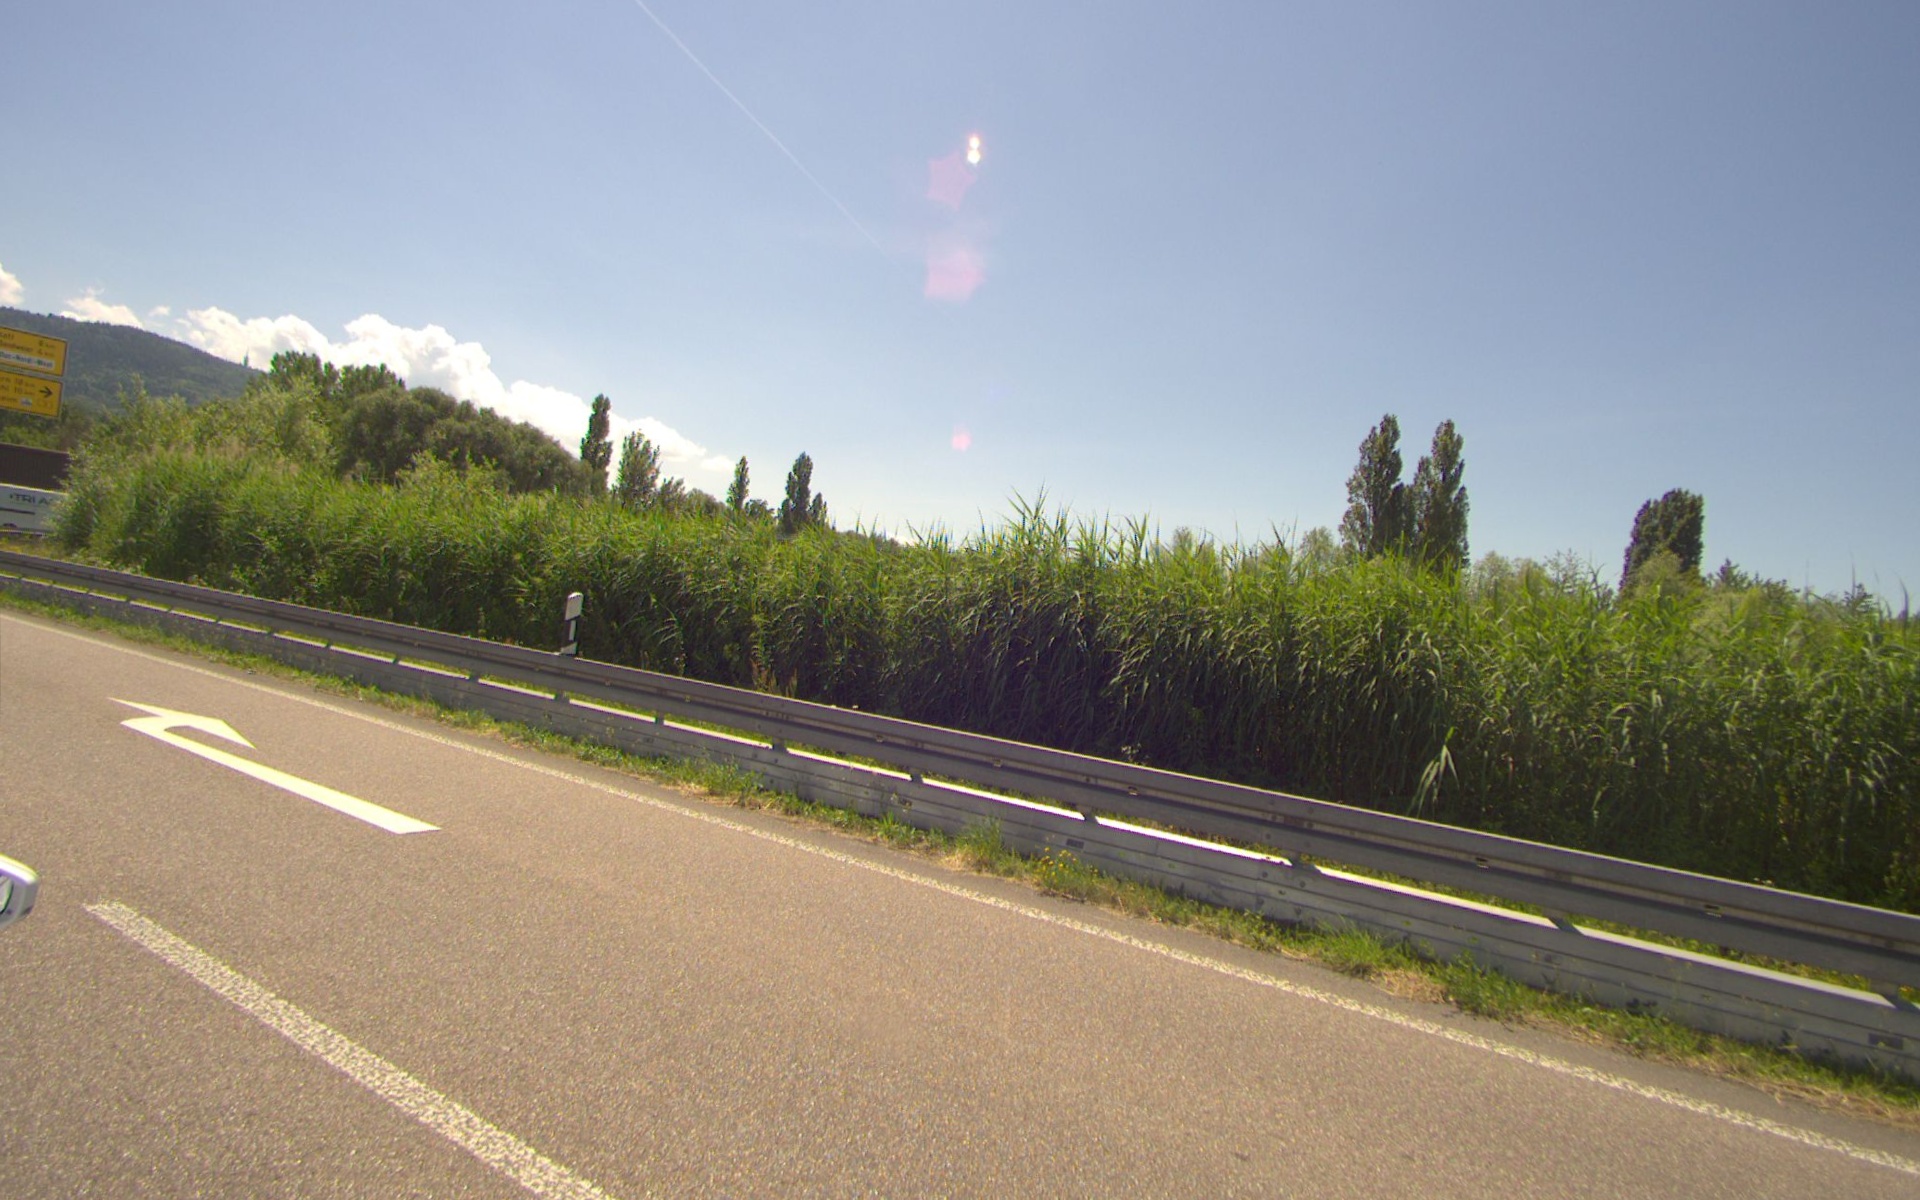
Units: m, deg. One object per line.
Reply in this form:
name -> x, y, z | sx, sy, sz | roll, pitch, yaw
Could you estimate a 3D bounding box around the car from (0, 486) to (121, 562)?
car -> -30.403, -2.535, 32.758 | 1.899, 2.023, 4.840 | 7, -2, 0
